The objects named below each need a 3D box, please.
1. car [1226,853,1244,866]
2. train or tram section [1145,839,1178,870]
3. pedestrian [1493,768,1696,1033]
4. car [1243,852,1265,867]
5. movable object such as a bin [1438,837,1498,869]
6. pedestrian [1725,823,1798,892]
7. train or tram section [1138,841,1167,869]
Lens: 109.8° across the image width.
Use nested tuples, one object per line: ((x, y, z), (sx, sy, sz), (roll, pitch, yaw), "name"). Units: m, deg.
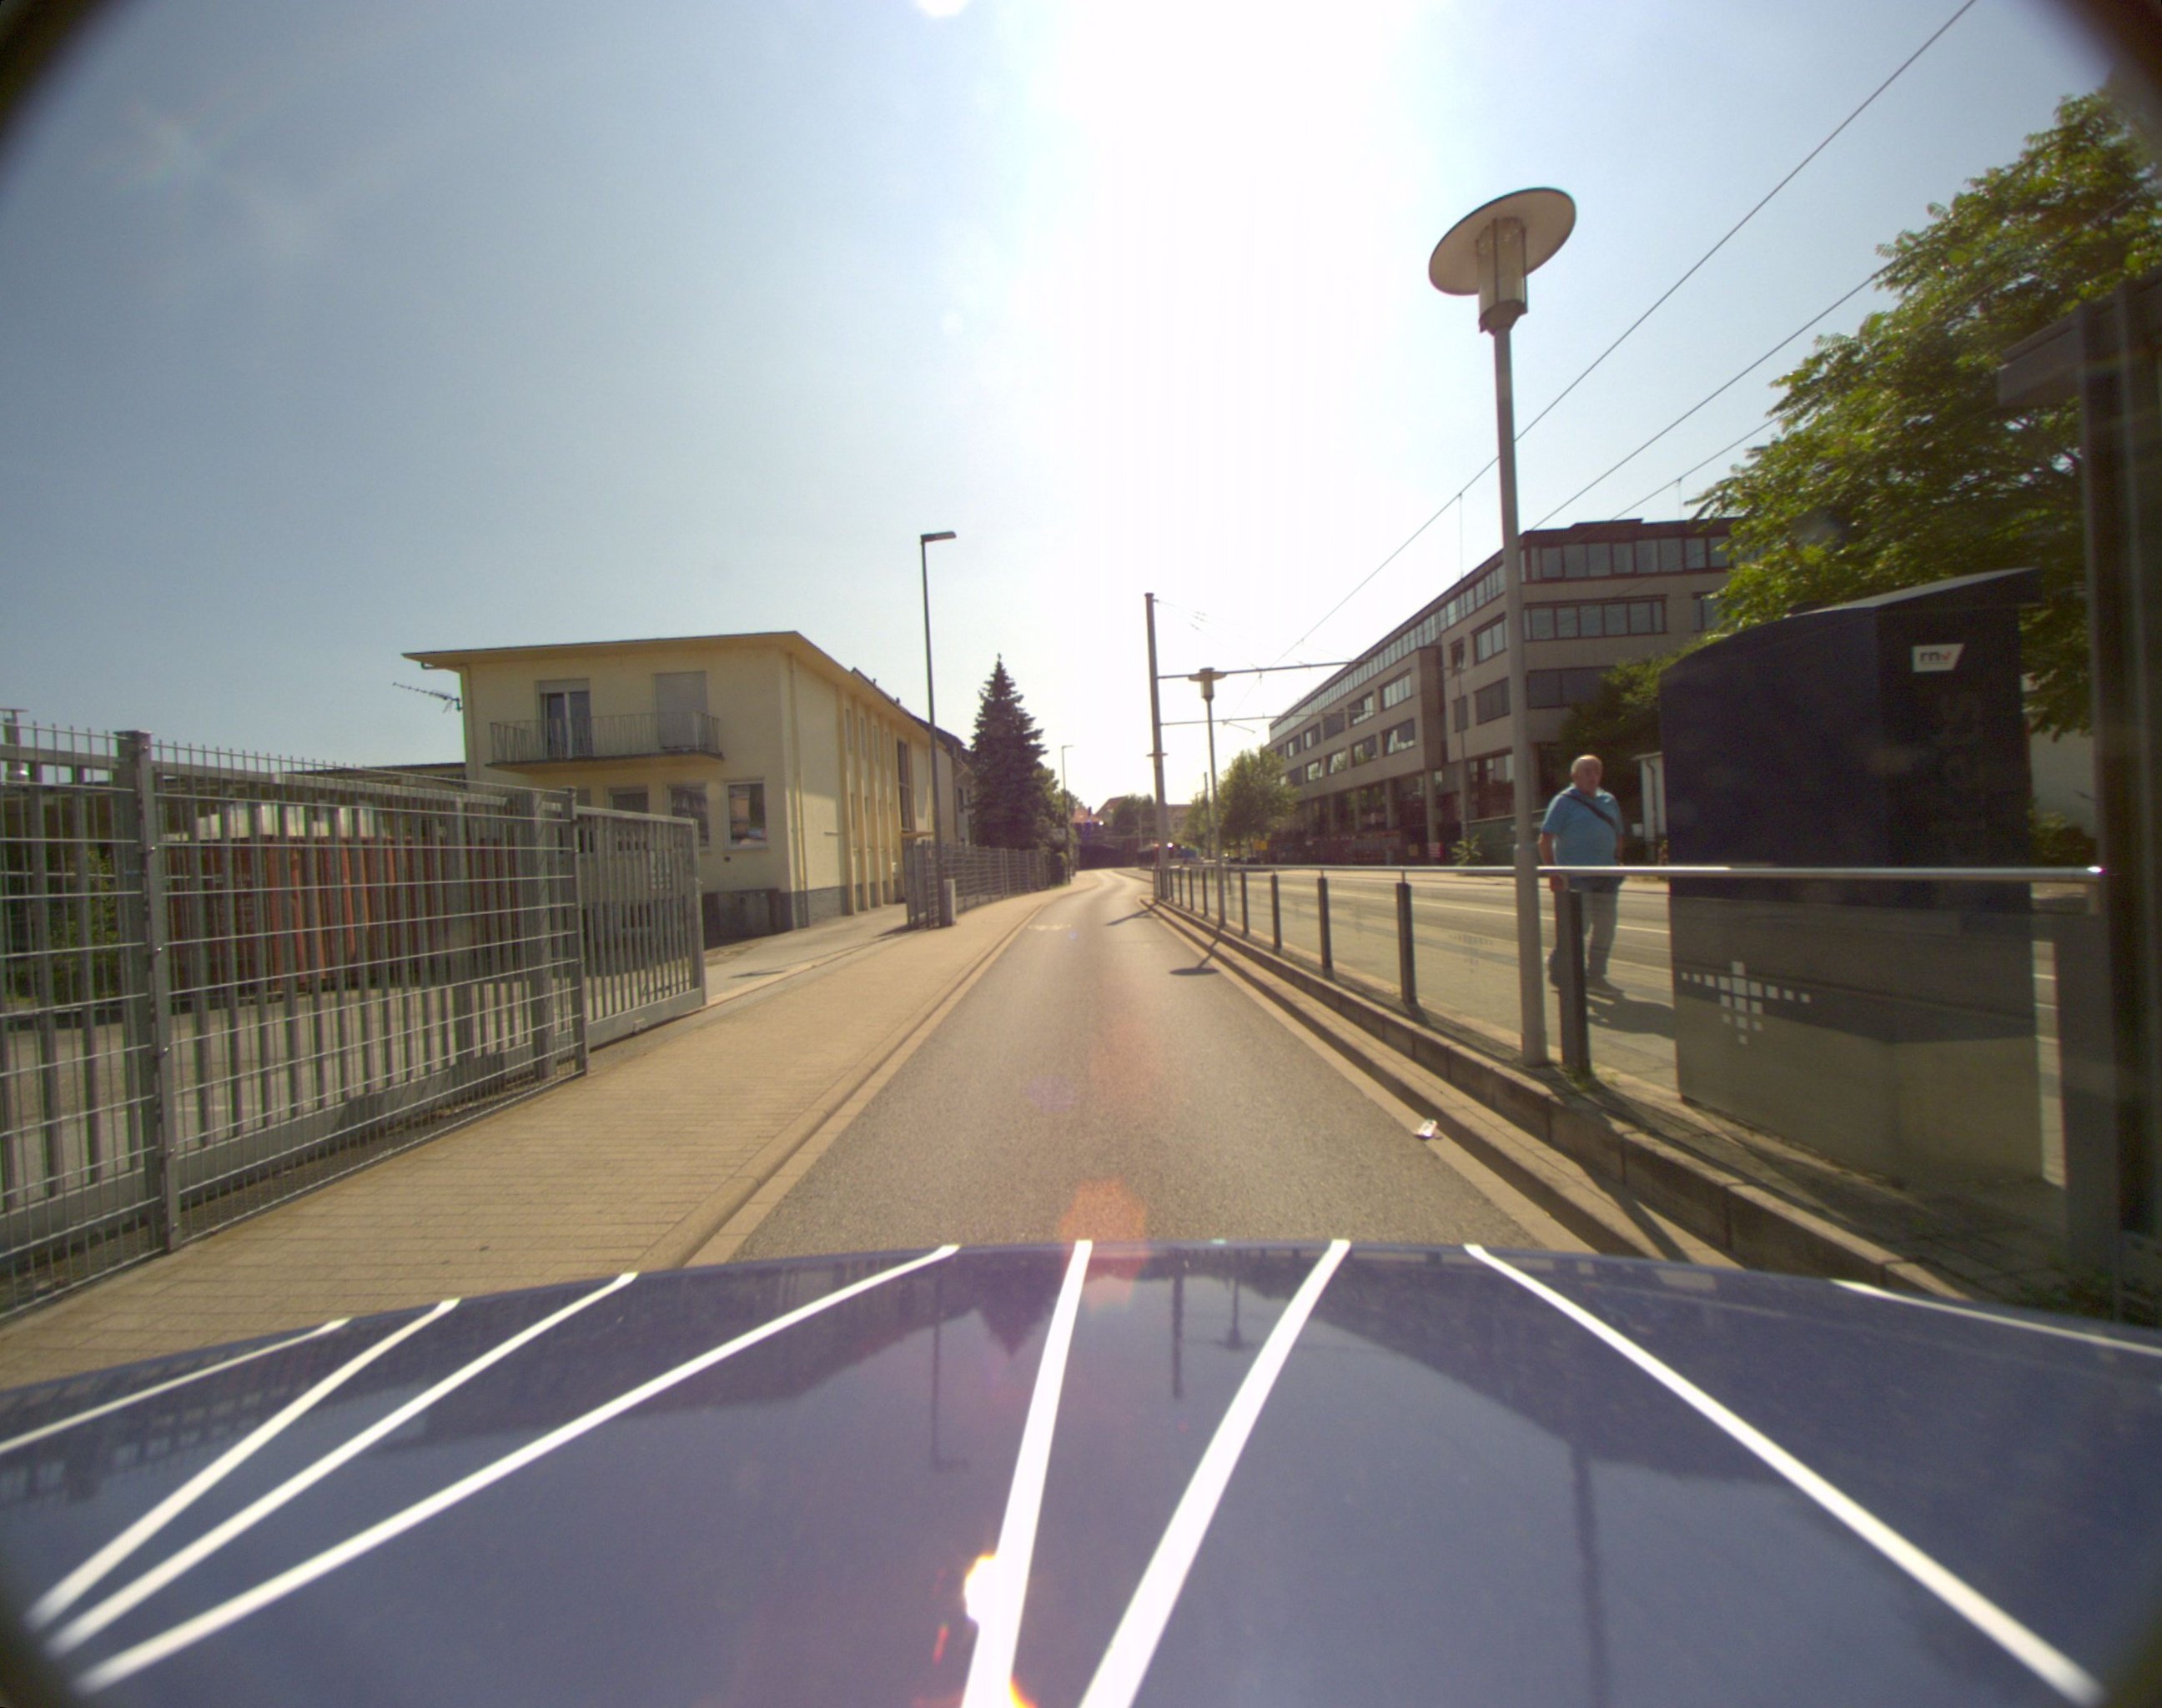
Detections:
((19.070, 0.683, 94.270), (1.870, 1.608, 4.002), (-2, 0, 8), "car")
((9.854, 0.120, 94.133), (2.680, 3.464, 12.328), (-3, 0, 0), "train or tram section")
((3.665, 0.315, 5.517), (0.725, 1.714, 0.945), (-4, 0, 1), "pedestrian")
((19.716, 0.655, 86.747), (1.997, 1.613, 4.002), (-2, 0, 8), "car")
((25.624, -0.017, 50.371), (1.748, 2.002, 3.174), (-2, 0, -19), "movable object such as a bin")
((15.902, 0.083, 17.783), (0.873, 1.518, 0.846), (-3, 0, 0), "pedestrian")
((9.927, 0.192, 106.892), (2.680, 3.464, 13.390), (-3, 0, 0), "train or tram section")
